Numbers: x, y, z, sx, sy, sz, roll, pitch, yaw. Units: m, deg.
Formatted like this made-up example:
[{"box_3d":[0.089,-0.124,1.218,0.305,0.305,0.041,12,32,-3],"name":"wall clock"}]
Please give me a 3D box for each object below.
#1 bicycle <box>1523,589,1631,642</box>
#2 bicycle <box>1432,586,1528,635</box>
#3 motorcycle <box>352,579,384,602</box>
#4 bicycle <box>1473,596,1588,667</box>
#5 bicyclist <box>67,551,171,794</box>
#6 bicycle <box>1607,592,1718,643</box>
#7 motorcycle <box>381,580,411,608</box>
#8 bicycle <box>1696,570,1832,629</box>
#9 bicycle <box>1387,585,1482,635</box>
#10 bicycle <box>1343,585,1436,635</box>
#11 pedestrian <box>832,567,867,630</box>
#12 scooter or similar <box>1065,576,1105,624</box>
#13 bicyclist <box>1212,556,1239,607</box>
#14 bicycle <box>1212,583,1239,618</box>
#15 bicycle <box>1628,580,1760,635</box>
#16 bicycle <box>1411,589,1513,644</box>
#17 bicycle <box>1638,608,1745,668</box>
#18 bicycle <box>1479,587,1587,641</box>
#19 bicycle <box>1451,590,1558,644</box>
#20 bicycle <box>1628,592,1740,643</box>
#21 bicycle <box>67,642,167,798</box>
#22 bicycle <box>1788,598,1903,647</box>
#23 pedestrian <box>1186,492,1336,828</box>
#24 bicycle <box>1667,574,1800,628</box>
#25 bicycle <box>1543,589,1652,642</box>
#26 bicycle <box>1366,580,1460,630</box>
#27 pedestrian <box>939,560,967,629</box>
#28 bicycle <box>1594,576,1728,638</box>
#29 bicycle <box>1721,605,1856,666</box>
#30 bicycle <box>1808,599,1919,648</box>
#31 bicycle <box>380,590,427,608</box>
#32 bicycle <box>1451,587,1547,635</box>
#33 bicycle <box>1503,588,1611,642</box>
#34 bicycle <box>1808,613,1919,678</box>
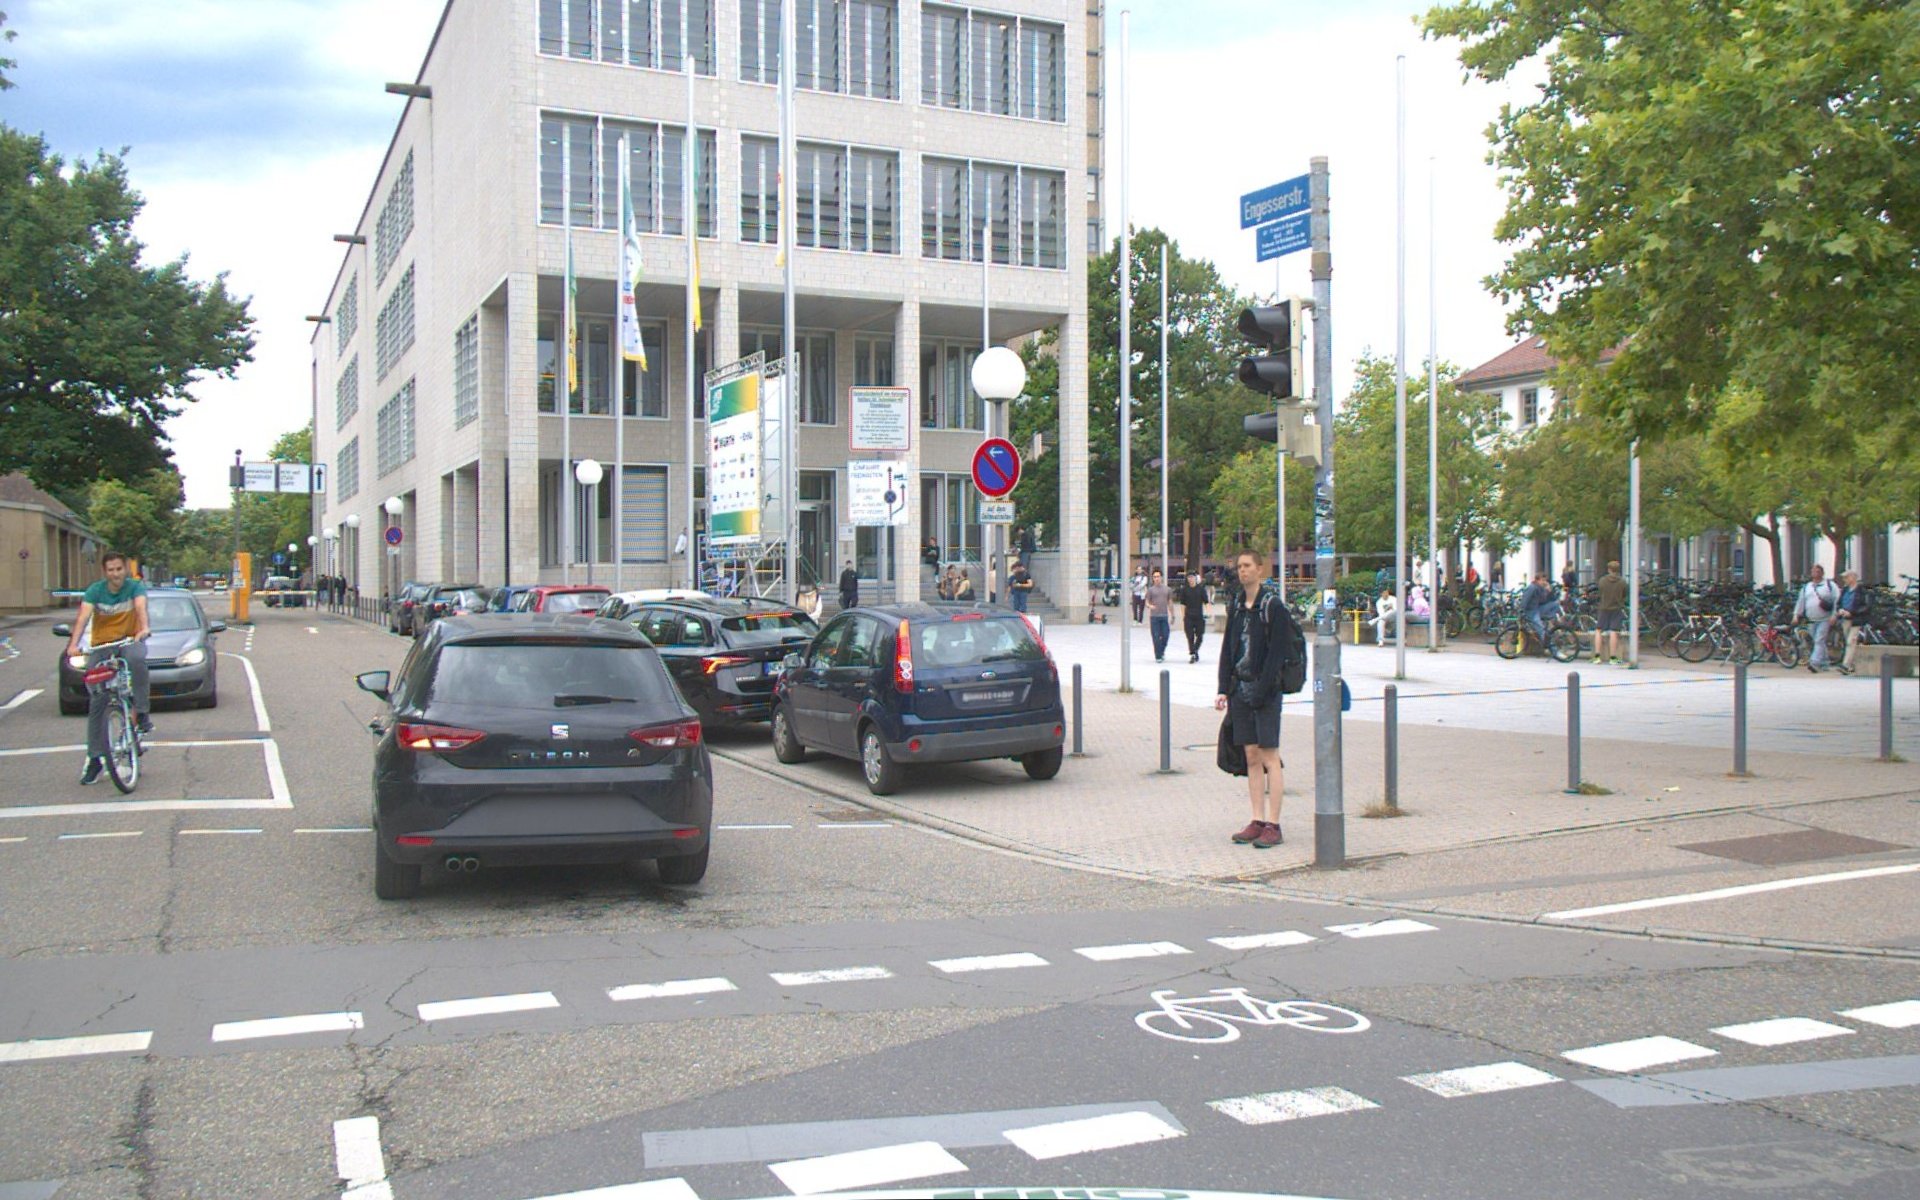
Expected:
[{"box_3d":[16.197,0.383,43.522,0.735,1.190,3.088,2,2,-22],"name":"bicycle"},{"box_3d":[14.727,0.285,46.951,0.735,1.190,3.087,2,2,-22],"name":"bicycle"},{"box_3d":[-32.323,-0.523,90.301,0.744,1.168,2.663,2,2,0],"name":"motorcycle"},{"box_3d":[10.978,0.589,31.919,0.450,1.190,2.392,1,2,-28],"name":"bicycle"},{"box_3d":[-6.564,0.535,12.895,0.651,1.811,0.973,0,0,-32],"name":"bicyclist"},{"box_3d":[19.065,0.451,44.963,0.735,1.190,3.086,1,2,-23],"name":"bicycle"},{"box_3d":[-25.640,-0.272,75.255,0.554,1.168,2.217,2,2,0],"name":"motorcycle"},{"box_3d":[18.510,-0.034,38.187,0.735,1.190,3.087,2,2,-22],"name":"bicycle"},{"box_3d":[13.151,0.254,45.981,0.735,1.190,3.087,2,2,-22],"name":"bicycle"},{"box_3d":[11.741,0.252,45.337,0.735,1.190,3.087,2,2,-22],"name":"bicycle"},{"box_3d":[-3.040,-0.039,45.443,0.745,1.699,0.700,0,0,-24],"name":"pedestrian"},{"box_3d":[3.730,-0.015,49.185,0.397,1.393,1.485,4,2,37],"name":"scooter or similar"},{"box_3d":[8.805,-0.625,54.802,0.854,1.669,0.869,1,1,10],"name":"bicyclist"},{"box_3d":[8.803,-0.002,54.815,0.854,1.112,1.803,1,1,10],"name":"bicycle"},{"box_3d":[16.505,0.144,37.310,0.735,1.190,3.086,0,1,-22],"name":"bicycle"},{"box_3d":[12.678,0.394,41.910,0.611,1.190,3.087,2,2,-22],"name":"bicycle"},{"box_3d":[14.056,0.717,31.827,0.452,1.067,1.909,-1,2,-38],"name":"bicycle"},{"box_3d":[14.816,0.348,42.871,0.735,1.190,3.087,2,2,-22],"name":"bicycle"},{"box_3d":[13.964,0.425,42.557,0.735,1.190,3.087,2,2,-22],"name":"bicycle"},{"box_3d":[19.770,0.470,45.264,0.735,1.190,3.086,1,2,-23],"name":"bicycle"},{"box_3d":[-6.564,0.892,12.890,0.649,1.056,1.841,0,0,-27],"name":"bicycle"},{"box_3d":[25.256,0.630,47.259,0.735,1.190,3.086,1,2,-23],"name":"bicycle"},{"box_3d":[1.836,0.354,10.189,0.774,1.986,0.758,0,0,0],"name":"pedestrian"},{"box_3d":[17.596,0.008,37.741,0.735,1.190,3.086,0,1,-22],"name":"bicycle"},{"box_3d":[16.872,0.397,43.904,0.735,1.190,3.087,2,2,-22],"name":"bicycle"},{"box_3d":[12.458,0.123,45.643,0.735,1.190,3.087,2,2,-22],"name":"bicycle"},{"box_3d":[-0.196,-0.144,45.477,0.583,1.873,0.616,1,0,-24],"name":"pedestrian"},{"box_3d":[15.512,0.136,36.721,0.735,1.190,3.087,2,2,-22],"name":"bicycle"},{"box_3d":[19.419,0.808,38.867,0.735,1.190,3.087,2,2,-22],"name":"bicycle"},{"box_3d":[26.031,0.649,47.625,0.735,1.190,3.086,1,2,-23],"name":"bicycle"},{"box_3d":[-24.339,-0.041,72.386,1.875,0.711,0.488,1,2,-29],"name":"bicycle"},{"box_3d":[15.408,0.297,47.389,0.735,1.190,3.087,2,2,-22],"name":"bicycle"},{"box_3d":[15.530,0.368,43.160,0.735,1.190,3.087,2,2,-22],"name":"bicycle"},{"box_3d":[16.131,0.792,29.452,0.450,1.067,1.917,-1,1,-28],"name":"bicycle"}]
